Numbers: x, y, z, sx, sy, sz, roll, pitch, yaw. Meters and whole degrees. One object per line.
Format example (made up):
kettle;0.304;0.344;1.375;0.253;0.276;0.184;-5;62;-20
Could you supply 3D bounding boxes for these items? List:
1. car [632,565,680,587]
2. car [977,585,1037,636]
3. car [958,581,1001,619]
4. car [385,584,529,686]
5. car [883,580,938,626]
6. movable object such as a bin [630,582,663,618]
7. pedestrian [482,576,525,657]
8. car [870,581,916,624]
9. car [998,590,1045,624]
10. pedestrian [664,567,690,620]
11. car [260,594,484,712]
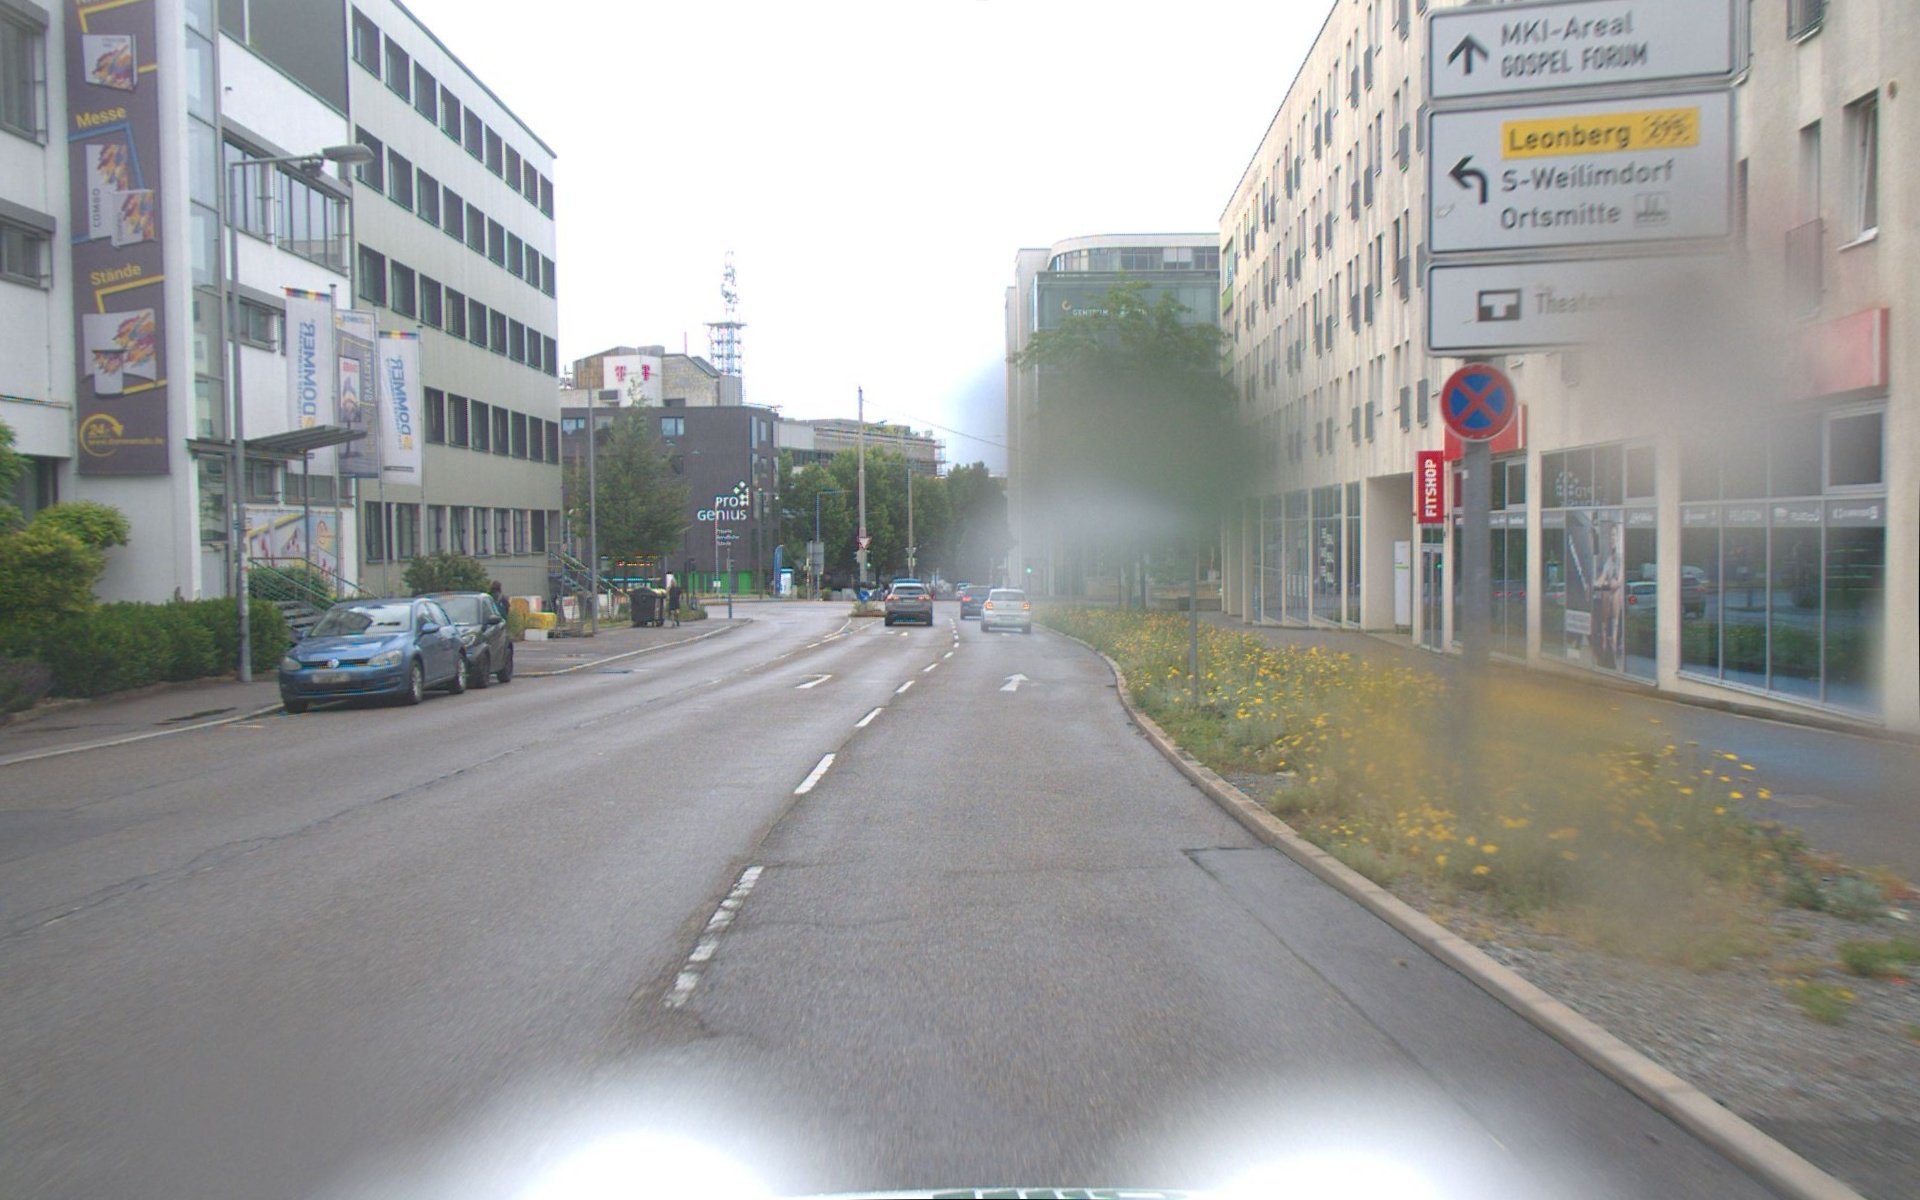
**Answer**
car;-28.293;-2.212;153.969;3.902;2.049;2.002;0;0;12
car;1.591;0.336;56.445;1.952;1.604;3.997;0;1;1
car;0.922;-0.008;80.757;1.953;1.780;3.672;0;1;-1
car;-8.393;0.544;27.850;1.532;1.540;3.169;-2;1;-3
car;-1.920;0.104;65.079;2.098;1.758;3.999;0;0;-1
movable object such as a bin;-11.785;-0.002;62.100;1.184;1.344;0.871;-1;1;-13
pedestrian;-10.097;0.363;36.601;0.720;1.738;0.895;-1;0;-28
car;-2.964;0.099;72.769;1.954;1.850;3.997;0;0;-3
car;2.913;0.317;78.996;1.953;1.534;3.998;0;0;-2
pedestrian;-10.759;-0.259;62.819;0.943;1.989;0.776;0;0;-14
car;-8.208;0.674;23.514;1.876;1.507;4.353;0;0;-4
